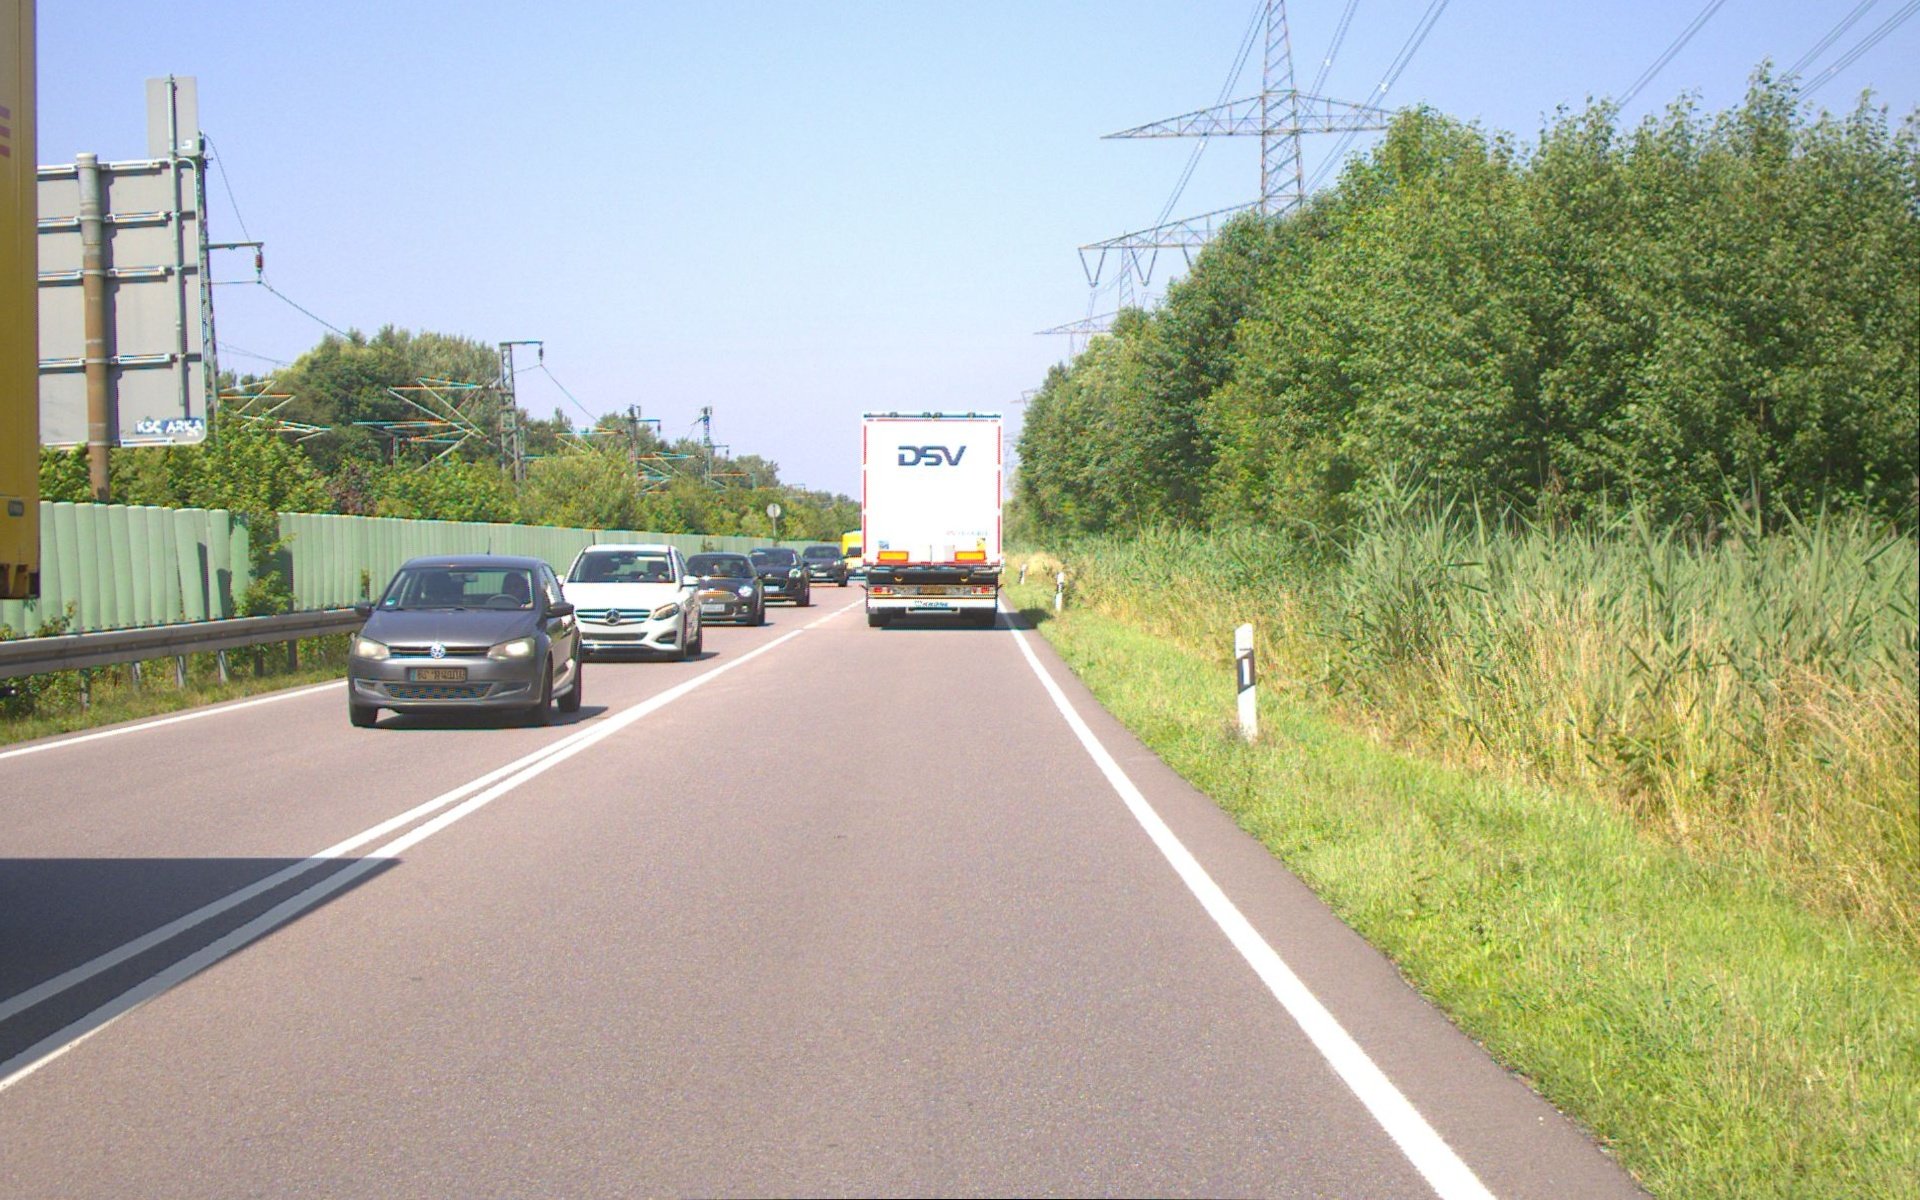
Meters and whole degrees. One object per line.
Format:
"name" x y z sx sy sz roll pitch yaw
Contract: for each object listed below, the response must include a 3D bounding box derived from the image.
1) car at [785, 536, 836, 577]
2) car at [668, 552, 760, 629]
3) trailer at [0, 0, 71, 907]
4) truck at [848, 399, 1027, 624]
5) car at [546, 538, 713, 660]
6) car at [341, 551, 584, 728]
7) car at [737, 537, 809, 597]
"car" -5.865 -1.701 134.967 1.801 1.582 4.371 0 1 0
"car" -4.771 -0.207 66.989 1.506 1.430 3.742 0 1 0
"trailer" -4.980 -0.816 9.740 2.548 4.130 9.229 0 1 0
"truck" -0.442 -1.695 68.243 3.192 4.029 12.007 -1 1 0
"car" -4.478 -0.054 47.160 1.825 1.600 4.323 0 1 1
"car" -4.279 0.297 30.053 1.614 1.436 3.795 0 1 -1
"car" -4.828 -0.880 89.287 1.673 1.509 4.289 0 1 0
